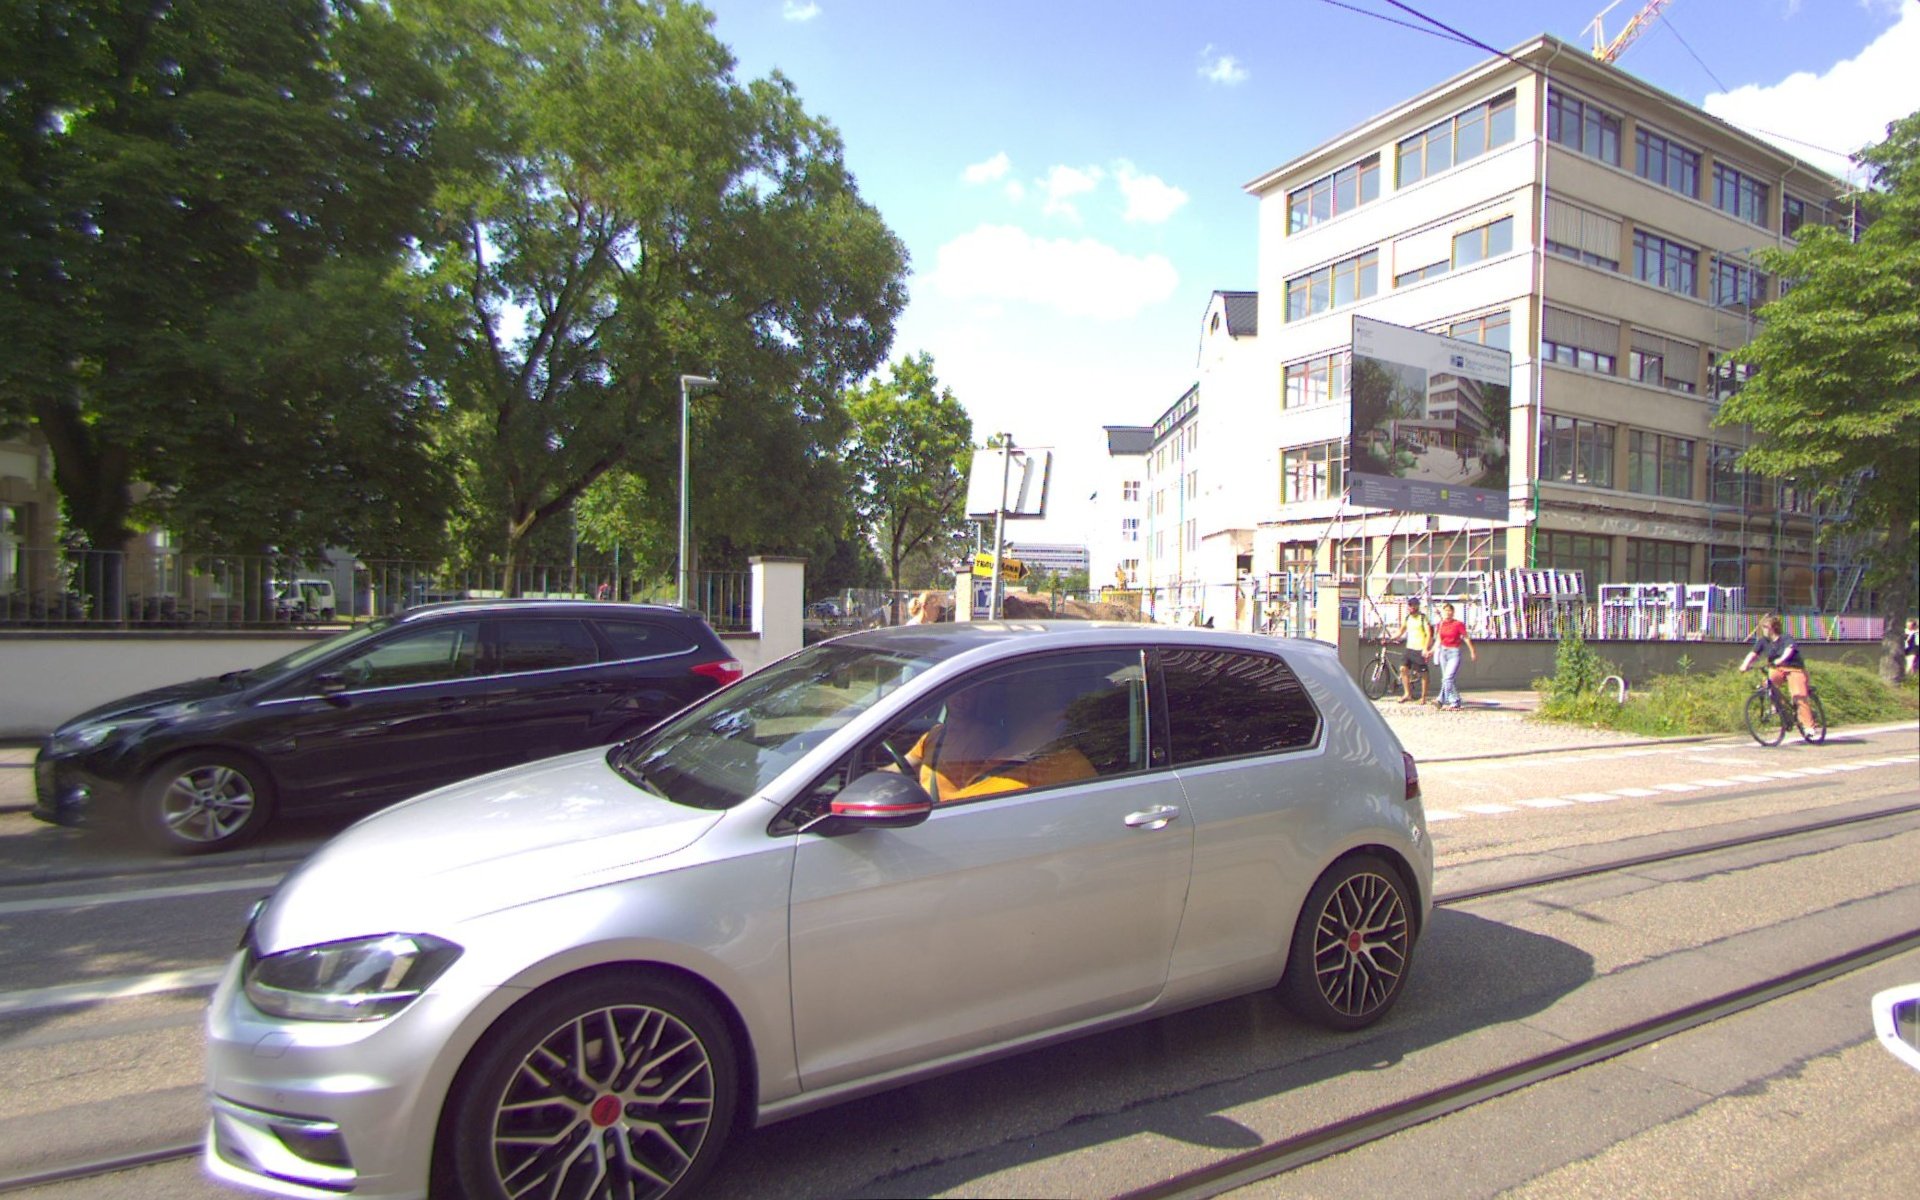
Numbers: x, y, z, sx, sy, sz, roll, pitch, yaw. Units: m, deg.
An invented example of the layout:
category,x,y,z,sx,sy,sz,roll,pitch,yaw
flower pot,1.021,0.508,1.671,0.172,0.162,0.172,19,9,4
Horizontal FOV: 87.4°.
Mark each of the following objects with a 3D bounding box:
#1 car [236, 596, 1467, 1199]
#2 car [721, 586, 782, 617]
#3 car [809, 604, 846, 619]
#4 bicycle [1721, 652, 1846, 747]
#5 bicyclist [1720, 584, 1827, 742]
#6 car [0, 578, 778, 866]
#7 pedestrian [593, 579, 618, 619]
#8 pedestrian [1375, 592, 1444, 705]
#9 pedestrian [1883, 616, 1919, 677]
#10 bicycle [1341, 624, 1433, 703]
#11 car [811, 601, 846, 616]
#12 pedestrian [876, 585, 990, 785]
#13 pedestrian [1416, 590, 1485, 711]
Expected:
category,x,y,z,sx,sy,sz,roll,pitch,yaw
car,-0.148,0.769,3.637,3.806,1.435,1.765,2,-1,-30
car,-14.617,0.118,70.560,3.925,2.040,1.998,1,0,-6
car,-13.529,1.185,102.504,3.595,1.509,1.785,1,0,-3
bicycle,11.048,1.297,13.461,1.921,1.181,0.641,1,-3,-30
bicyclist,10.964,0.844,13.559,0.824,2.040,0.872,2,-3,-30
car,-3.803,0.699,7.335,4.541,1.536,1.739,2,1,-32
pedestrian,-14.557,-0.037,41.202,0.751,1.642,0.594,1,0,10
pedestrian,7.554,0.803,16.888,0.655,1.817,0.703,1,3,-34
pedestrian,26.485,1.284,28.099,0.587,1.642,0.761,1,1,-29
bicycle,7.375,1.073,17.312,1.716,1.303,0.444,1,0,-27
car,-14.371,0.931,109.896,3.593,1.509,1.786,1,0,1
pedestrian,-0.234,0.715,8.901,0.714,1.659,0.691,2,1,27
pedestrian,7.934,0.793,16.261,0.655,1.857,0.703,-1,4,-34
